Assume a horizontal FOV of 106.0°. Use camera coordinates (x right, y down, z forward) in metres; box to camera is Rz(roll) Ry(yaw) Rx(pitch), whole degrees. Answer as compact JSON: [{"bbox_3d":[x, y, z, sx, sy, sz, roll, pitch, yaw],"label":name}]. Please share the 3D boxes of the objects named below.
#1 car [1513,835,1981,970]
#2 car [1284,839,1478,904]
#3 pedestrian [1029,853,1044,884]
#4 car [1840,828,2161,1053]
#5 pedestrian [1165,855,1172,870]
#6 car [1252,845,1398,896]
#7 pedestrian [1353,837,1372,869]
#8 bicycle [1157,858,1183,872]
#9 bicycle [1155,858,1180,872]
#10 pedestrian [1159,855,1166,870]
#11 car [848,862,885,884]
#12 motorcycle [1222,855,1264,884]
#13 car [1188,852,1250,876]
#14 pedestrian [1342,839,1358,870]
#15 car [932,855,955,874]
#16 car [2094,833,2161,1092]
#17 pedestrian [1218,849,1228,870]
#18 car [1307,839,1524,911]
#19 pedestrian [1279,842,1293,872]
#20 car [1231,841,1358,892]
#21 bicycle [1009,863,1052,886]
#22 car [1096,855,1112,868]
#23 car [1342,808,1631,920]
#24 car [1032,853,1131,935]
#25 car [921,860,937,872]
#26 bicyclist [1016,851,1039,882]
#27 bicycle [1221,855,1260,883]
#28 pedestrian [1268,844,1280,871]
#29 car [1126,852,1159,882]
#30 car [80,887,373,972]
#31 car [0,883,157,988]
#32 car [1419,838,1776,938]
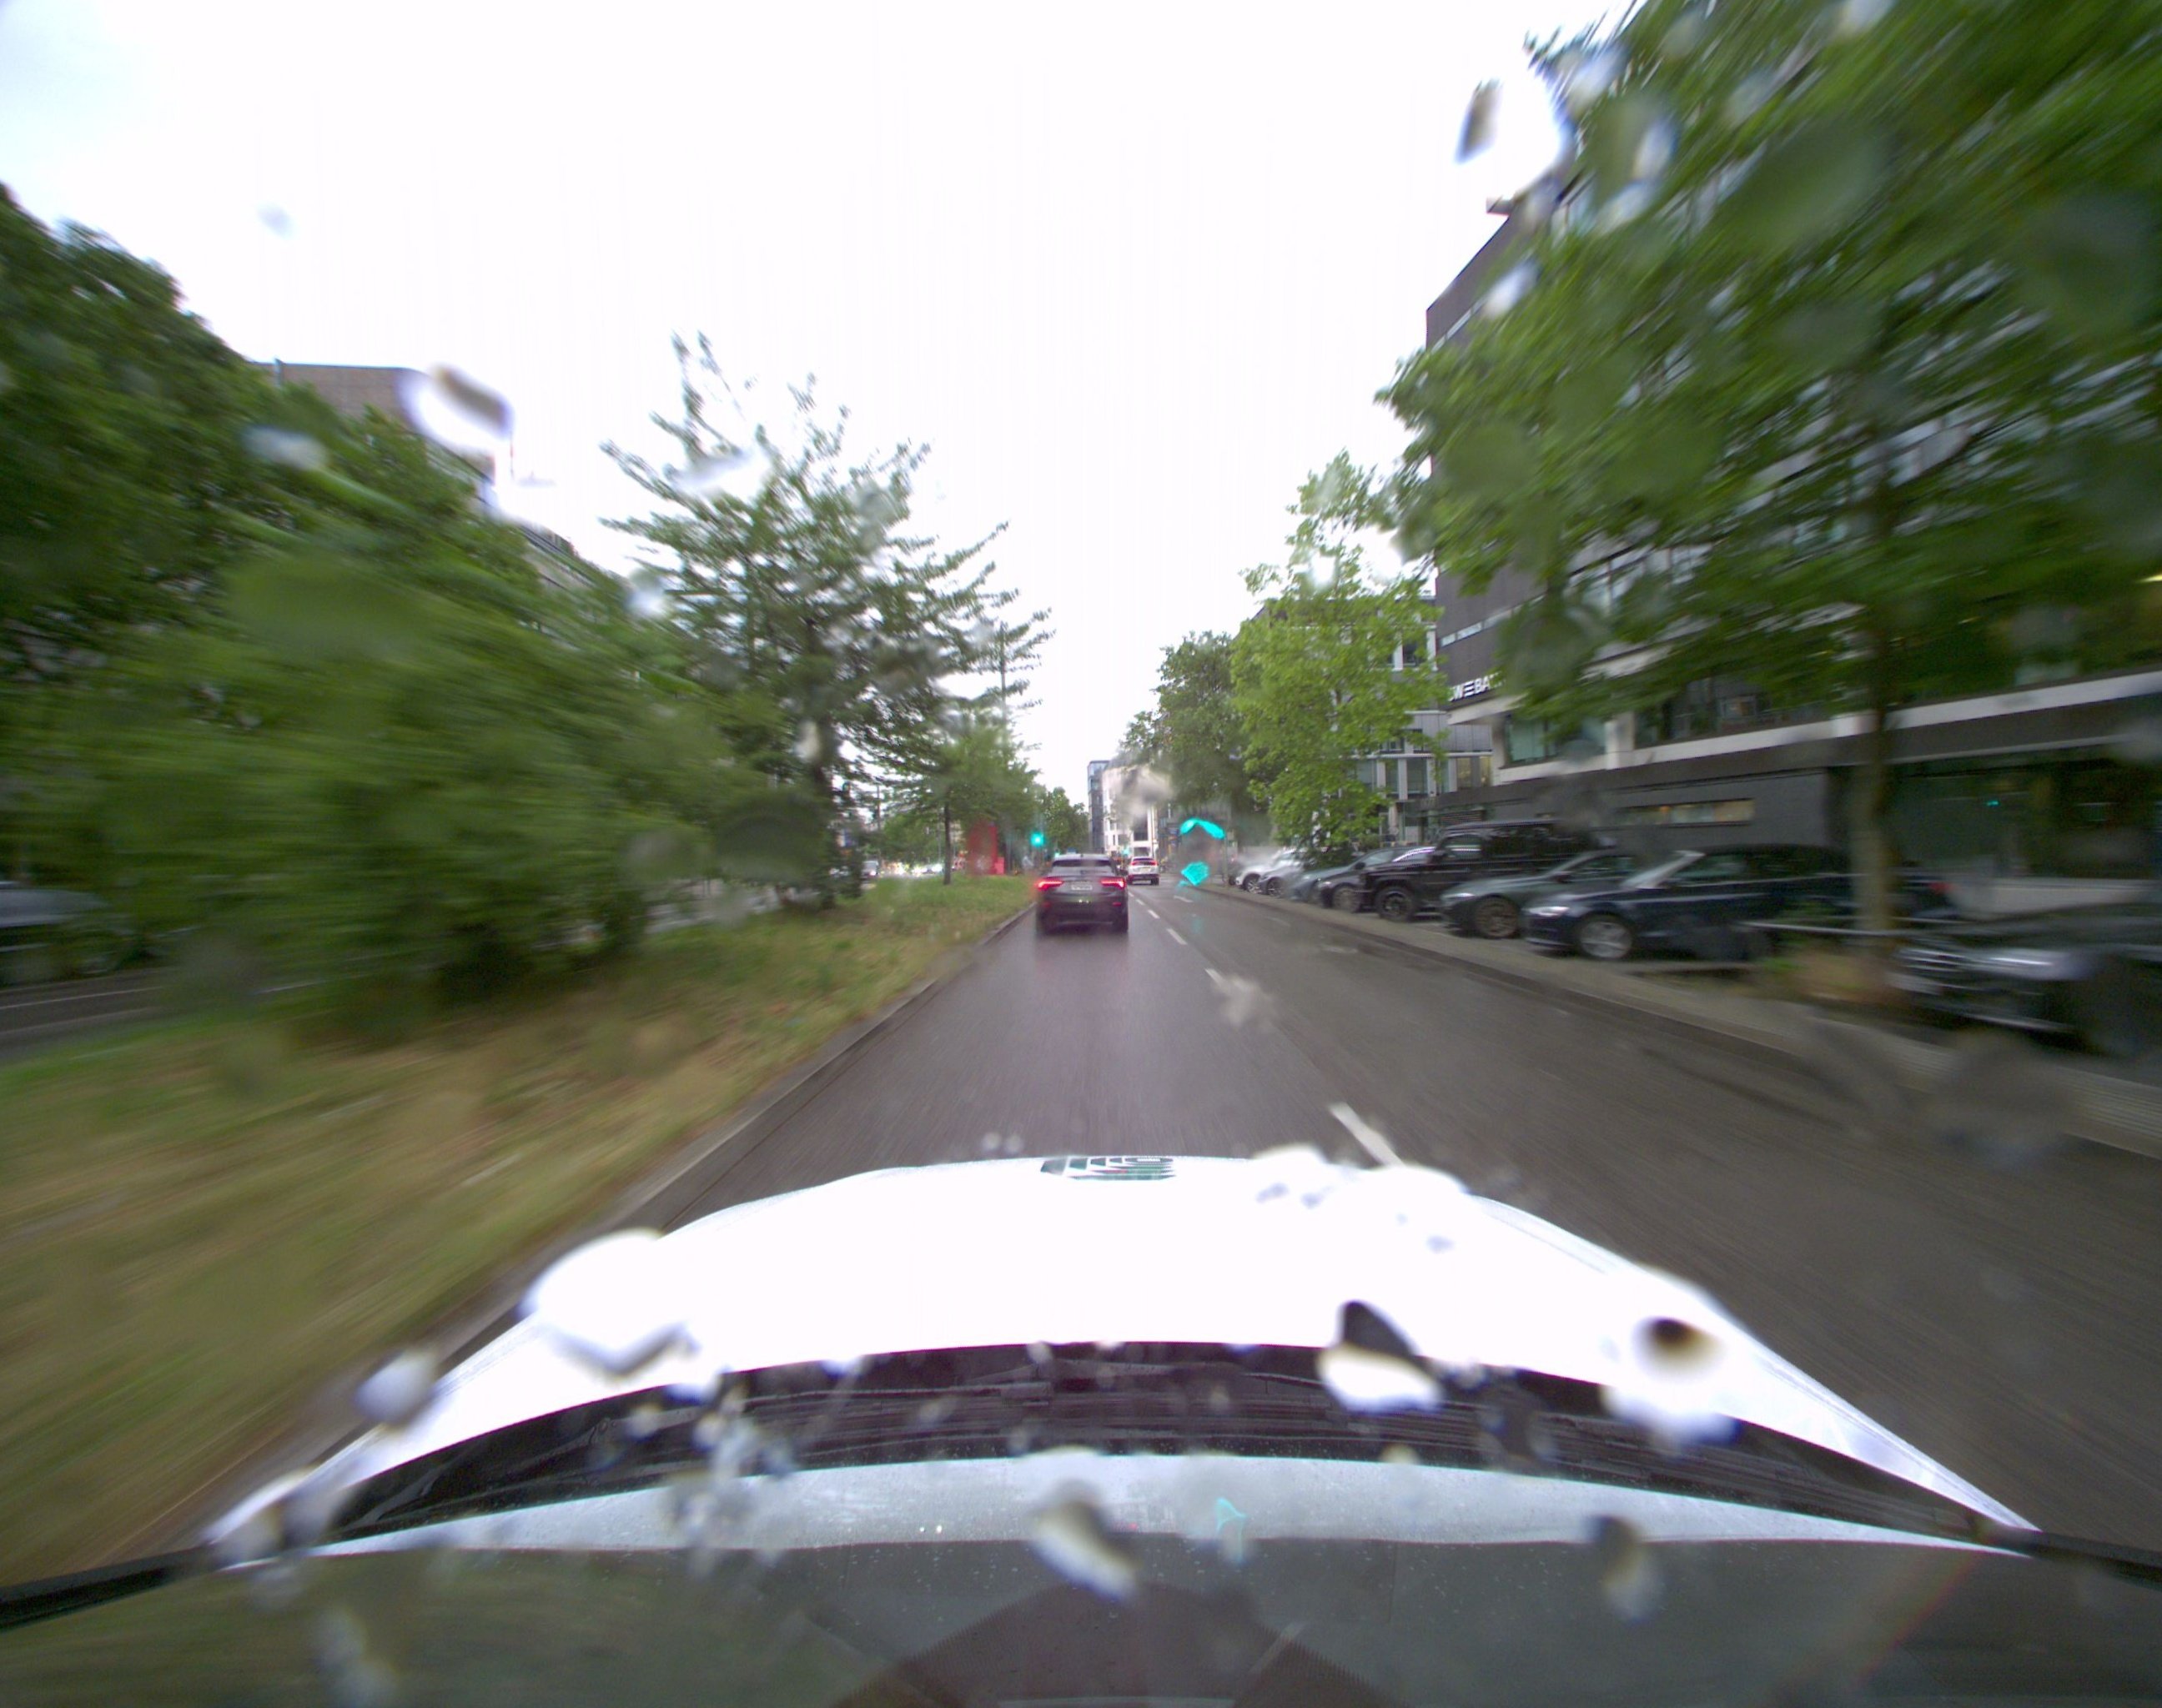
[{"bbox_3d":[7.997,0.562,10.404,4.323,1.436,1.772,-2,-1,28],"label":"car"},{"bbox_3d":[8.088,0.473,22.327,4.738,1.534,1.877,-3,0,16],"label":"car"},{"bbox_3d":[-2.652,0.858,48.591,0.657,1.793,0.753,-1,-1,14],"label":"pedestrian"},{"bbox_3d":[8.201,0.524,5.504,4.160,1.436,1.731,-2,-1,28],"label":"car"},{"bbox_3d":[11.935,1.126,111.394,0.853,2.014,0.975,0,-1,-3],"label":"pedestrian"},{"bbox_3d":[8.080,0.554,27.077,4.252,1.489,1.855,-3,0,31],"label":"car"},{"bbox_3d":[16.505,-0.062,47.769,0.663,1.783,0.920,-5,-2,4],"label":"pedestrian"},{"bbox_3d":[8.296,1.023,76.103,2.334,1.312,0.708,-1,0,-5],"label":"bicycle"},{"bbox_3d":[8.272,1.030,78.020,2.334,1.312,0.708,-1,0,-5],"label":"bicycle"},{"bbox_3d":[11.306,1.151,112.563,0.853,2.014,0.975,0,-1,-3],"label":"pedestrian"},{"bbox_3d":[-14.810,1.290,56.481,1.803,1.310,3.991,-3,0,-6],"label":"car"},{"bbox_3d":[7.943,0.761,39.948,2.015,1.415,0.728,-1,-1,10],"label":"motorcycle"},{"bbox_3d":[9.205,0.701,54.525,3.815,1.568,1.677,-1,-2,44],"label":"car"},{"bbox_3d":[15.841,0.018,48.009,0.636,1.783,0.772,-5,-2,7],"label":"pedestrian"},{"bbox_3d":[-14.808,1.088,88.070,1.990,1.826,3.993,-3,0,-5],"label":"car"},{"bbox_3d":[7.676,0.549,3.095,4.346,1.436,1.953,-2,-1,28],"label":"car"},{"bbox_3d":[14.877,0.580,85.350,0.929,2.115,1.079,-1,-1,14],"label":"pedestrian"},{"bbox_3d":[7.880,0.515,19.331,4.511,1.507,1.880,-3,0,26],"label":"car"},{"bbox_3d":[14.905,0.208,59.156,0.929,2.115,1.079,-1,-1,14],"label":"pedestrian"},{"bbox_3d":[7.928,0.469,30.259,4.177,1.669,1.850,-3,0,29],"label":"car"},{"bbox_3d":[-2.701,1.103,43.974,2.246,1.162,0.751,1,-1,1],"label":"bicycle"},{"bbox_3d":[2.968,0.974,104.350,1.842,1.523,4.041,-1,0,3],"label":"car"},{"bbox_3d":[8.034,0.254,16.498,4.890,1.978,1.941,-3,0,28],"label":"car"},{"bbox_3d":[0.078,0.746,17.320,1.842,1.523,4.040,-1,0,2],"label":"car"},{"bbox_3d":[-22.595,1.777,121.108,1.729,1.558,3.993,-3,0,-5],"label":"car"},{"bbox_3d":[-2.897,0.676,43.990,1.100,1.622,0.751,2,-1,1],"label":"bicyclist"},{"bbox_3d":[8.218,0.773,42.025,1.970,1.415,0.728,-1,-1,10],"label":"bicycle"},{"bbox_3d":[14.059,0.268,59.361,0.860,1.904,0.888,-1,-1,14],"label":"pedestrian"},{"bbox_3d":[3.626,0.740,48.638,1.842,1.669,4.041,-1,0,3],"label":"car"},{"bbox_3d":[-19.120,1.595,18.618,1.763,1.394,4.651,-4,0,-2],"label":"car"},{"bbox_3d":[-18.662,1.444,13.193,1.763,1.652,4.841,-4,0,-1],"label":"car"},{"bbox_3d":[8.152,0.563,13.313,4.578,1.394,1.859,-3,-1,30],"label":"car"}]
